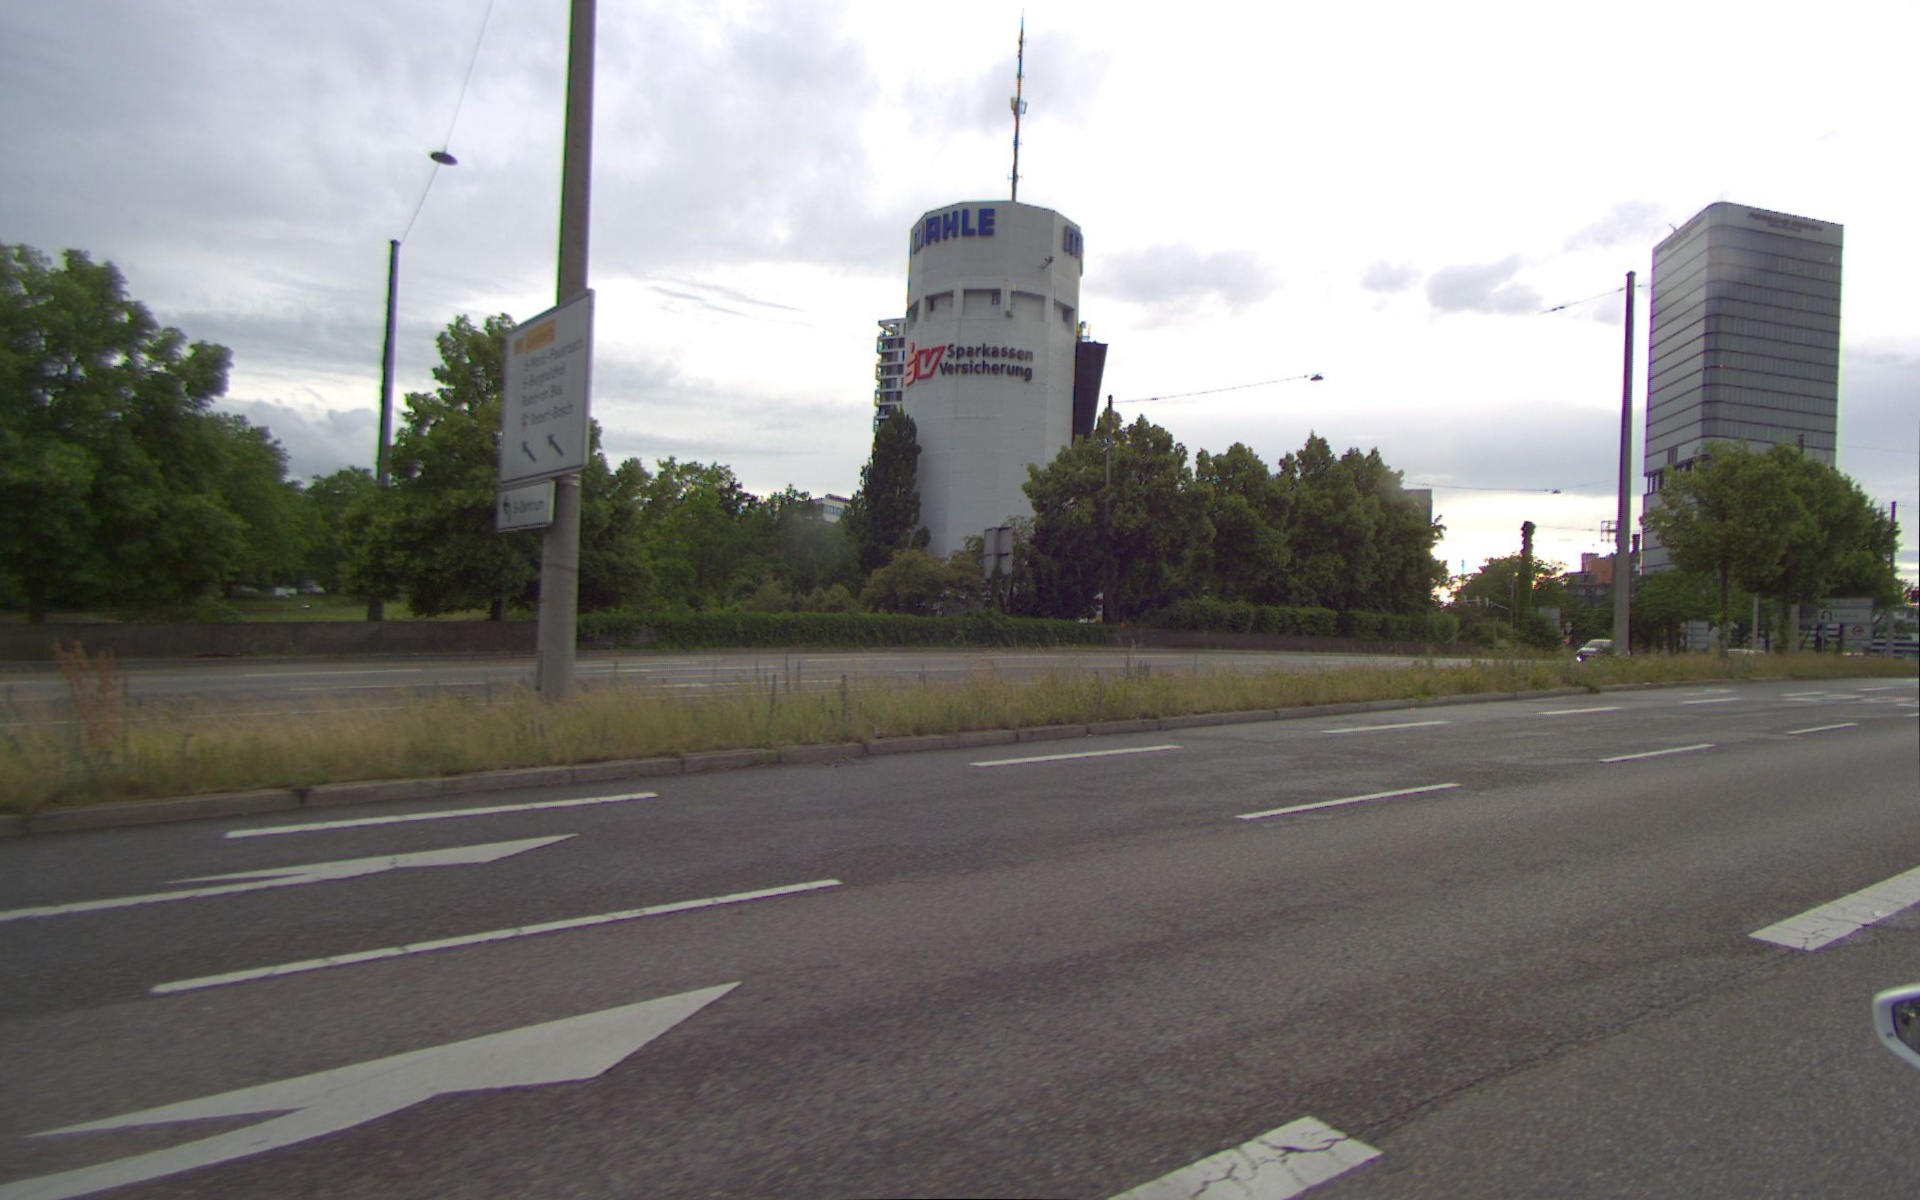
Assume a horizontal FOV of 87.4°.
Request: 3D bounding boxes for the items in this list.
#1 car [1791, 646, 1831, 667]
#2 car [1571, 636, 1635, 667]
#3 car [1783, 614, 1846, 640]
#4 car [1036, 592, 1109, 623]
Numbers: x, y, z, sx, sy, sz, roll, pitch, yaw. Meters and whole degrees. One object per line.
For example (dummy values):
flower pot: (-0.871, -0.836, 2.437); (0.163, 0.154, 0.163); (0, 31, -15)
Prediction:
car: (79.882, 5.274, 94.290); (3.490, 1.840, 1.590); (1, 0, -27)
car: (33.689, 2.663, 52.600); (3.641, 1.379, 1.583); (0, 3, -36)
car: (61.364, 1.950, 72.111); (4.547, 1.680, 1.885); (2, 0, -28)
car: (8.978, 0.633, 79.521); (2.354, 2.159, 6.970); (3, 0, 39)
